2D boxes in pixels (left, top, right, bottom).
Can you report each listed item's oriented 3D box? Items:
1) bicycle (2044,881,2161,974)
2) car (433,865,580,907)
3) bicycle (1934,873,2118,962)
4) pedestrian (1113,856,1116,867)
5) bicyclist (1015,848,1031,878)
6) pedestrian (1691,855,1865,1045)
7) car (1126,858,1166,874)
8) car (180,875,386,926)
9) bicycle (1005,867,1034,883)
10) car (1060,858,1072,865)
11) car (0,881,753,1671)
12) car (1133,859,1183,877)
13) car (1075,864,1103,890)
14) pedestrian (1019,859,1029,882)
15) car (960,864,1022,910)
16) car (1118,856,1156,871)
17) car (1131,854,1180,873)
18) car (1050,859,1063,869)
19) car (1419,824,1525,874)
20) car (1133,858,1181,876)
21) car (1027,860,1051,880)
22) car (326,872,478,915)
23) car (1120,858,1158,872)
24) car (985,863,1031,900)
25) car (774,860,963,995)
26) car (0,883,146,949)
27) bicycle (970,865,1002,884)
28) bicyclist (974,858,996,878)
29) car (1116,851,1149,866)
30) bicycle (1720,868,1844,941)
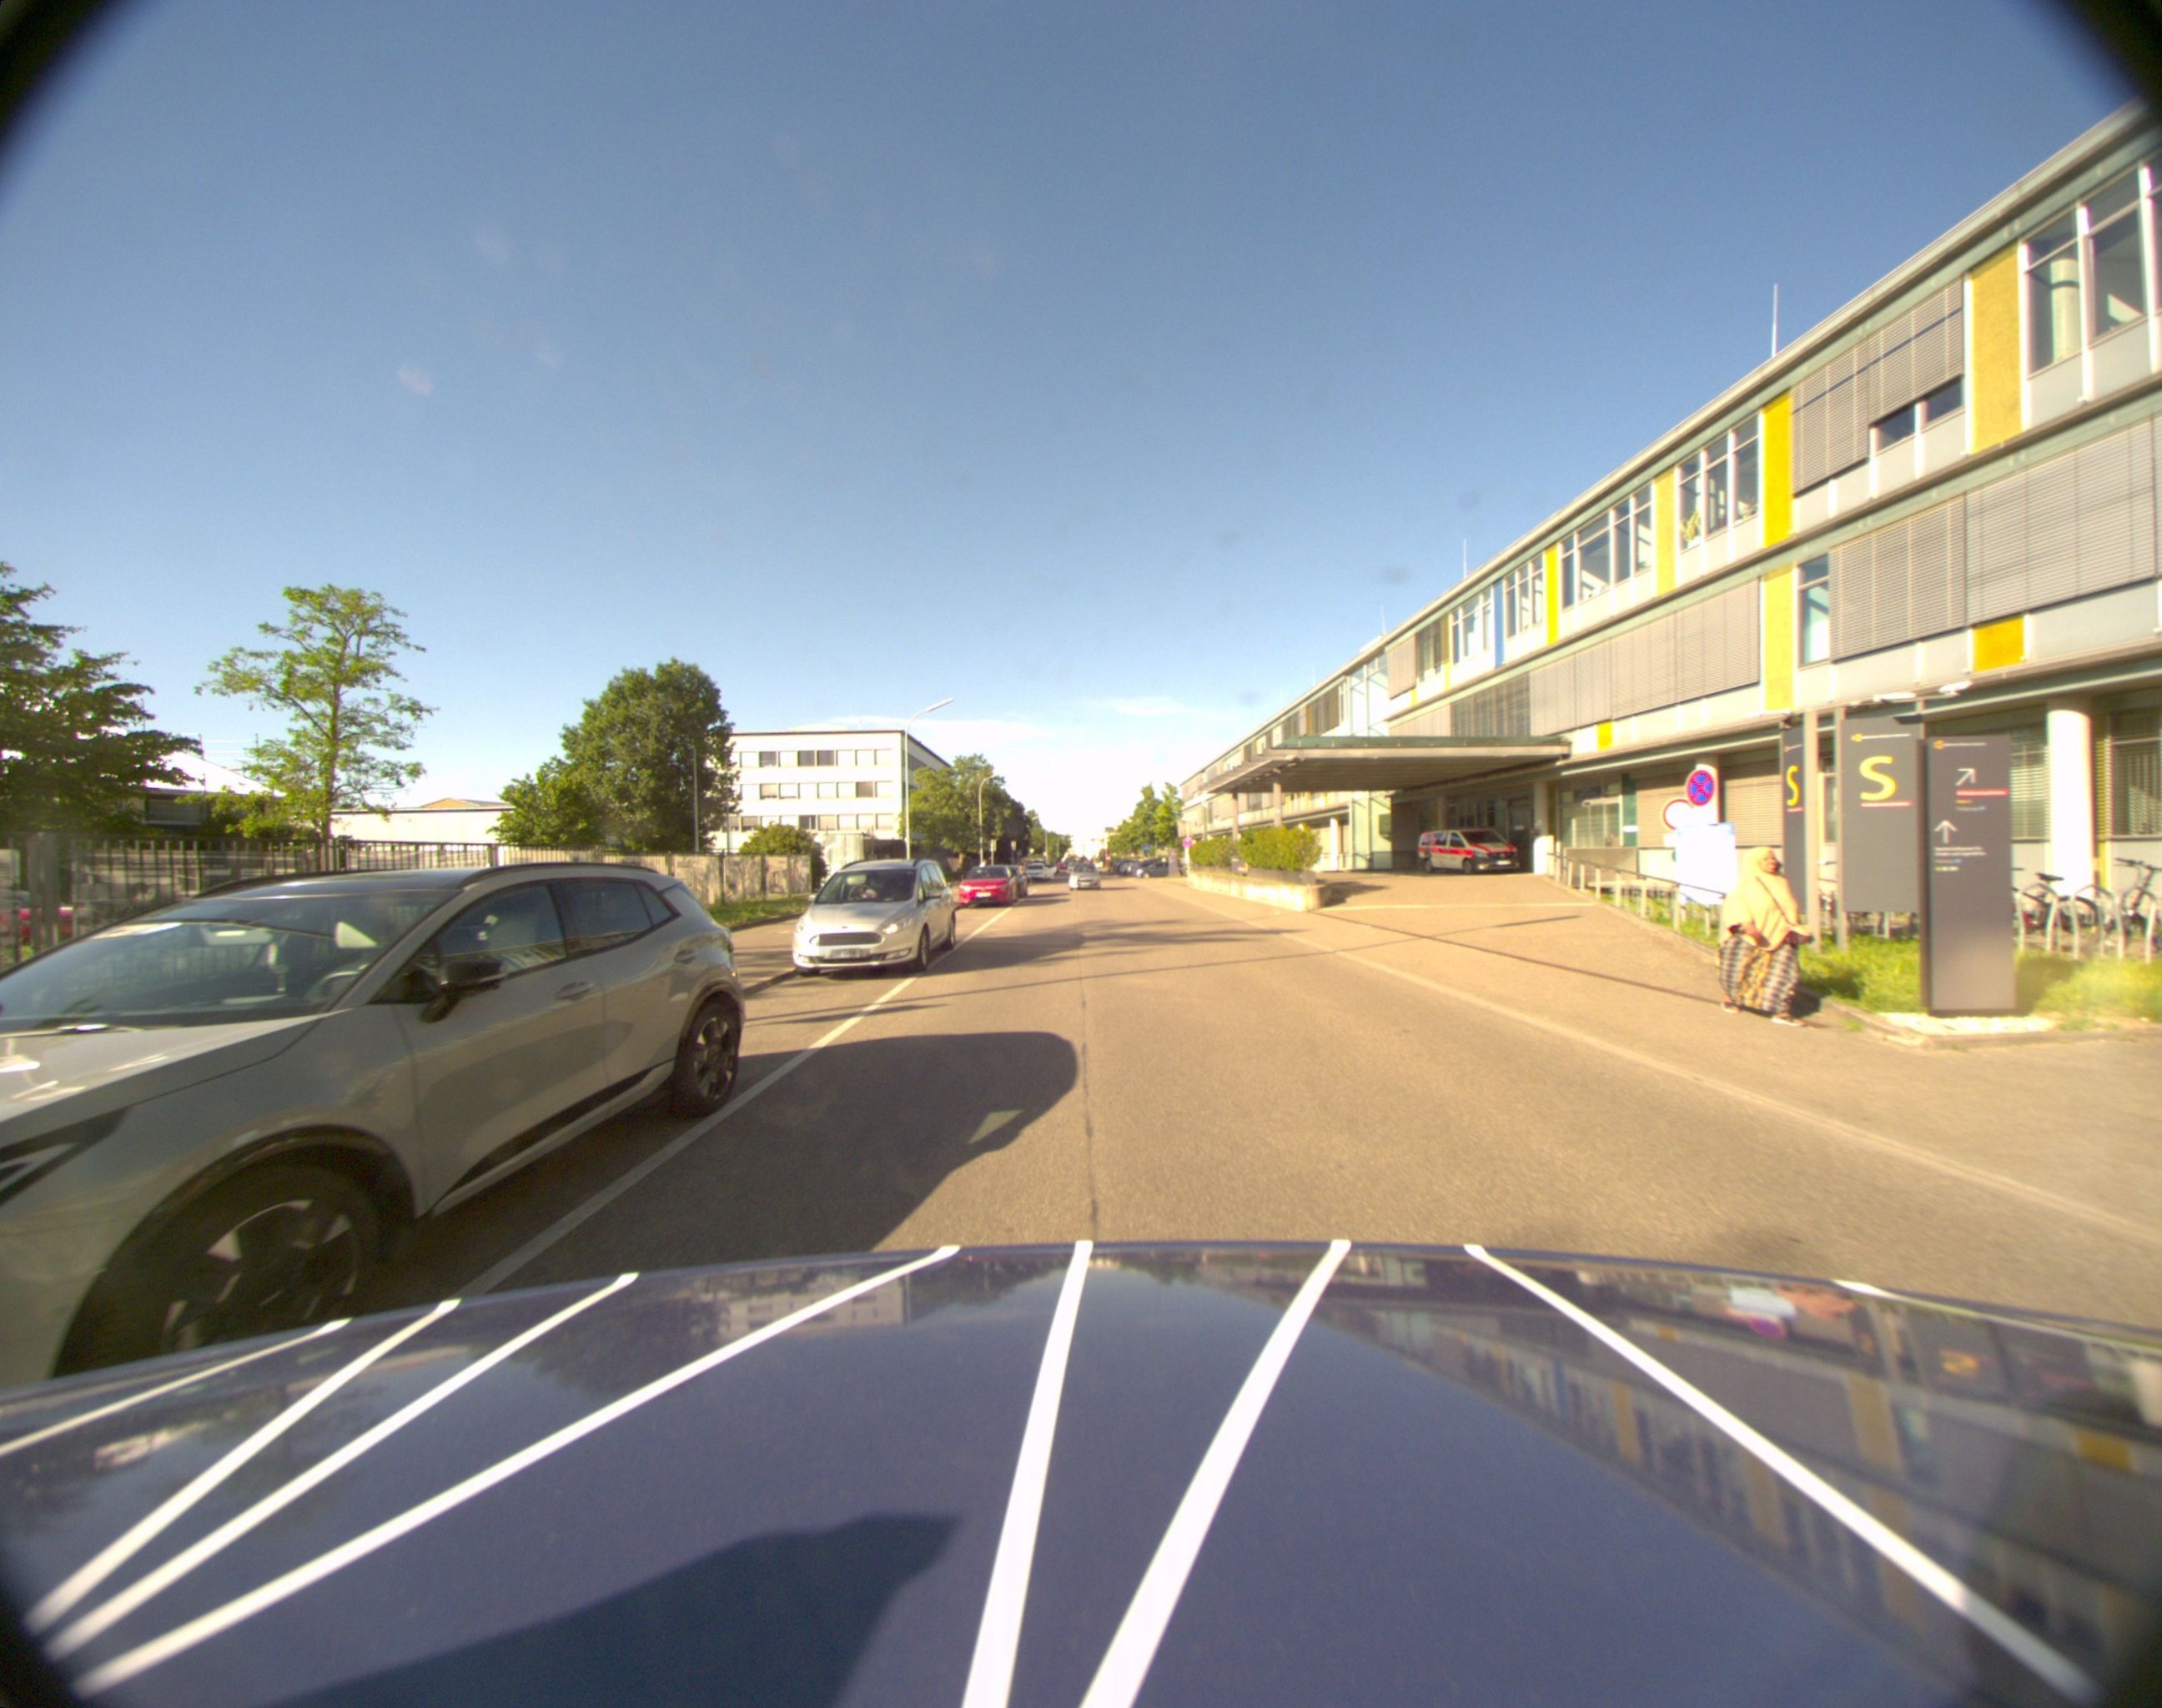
[{"bbox_3d":[11.856,0.796,8.431,1.719,0.968,0.536,-1,0,-2],"label":"bicycle"},{"bbox_3d":[-24.597,1.335,32.665,4.642,1.658,1.999,-1,0,-5],"label":"car"},{"bbox_3d":[11.953,0.788,9.628,1.719,1.049,0.536,-1,0,-2],"label":"bicycle"},{"bbox_3d":[5.216,1.237,119.345,0.369,1.712,0.479,-3,5,-4],"label":"pedestrian"},{"bbox_3d":[-3.952,0.619,51.891,1.052,2.001,0.959,1,-1,-2],"label":"bicyclist"},{"bbox_3d":[6.121,0.799,6.720,0.774,1.540,0.780,-3,1,0],"label":"pedestrian"},{"bbox_3d":[6.943,1.273,81.089,3.992,1.480,1.823,-3,1,-2],"label":"car"},{"bbox_3d":[-24.404,1.391,23.375,4.154,1.245,1.878,-3,0,-3],"label":"car"},{"bbox_3d":[-4.198,1.445,51.854,1.884,1.001,0.702,3,-6,-2],"label":"bicycle"},{"bbox_3d":[-2.929,1.455,147.931,1.999,1.382,3.998,0,0,-5],"label":"car"},{"bbox_3d":[-3.231,1.021,3.230,1.705,1.597,4.353,-3,0,0],"label":"car"},{"bbox_3d":[6.652,1.203,65.938,4.142,1.458,1.753,-2,0,-2],"label":"car"},{"bbox_3d":[0.458,1.263,42.954,1.551,1.389,3.454,0,0,1],"label":"car"},{"bbox_3d":[-4.443,1.272,59.119,0.693,1.718,0.775,0,0,-1],"label":"pedestrian"},{"bbox_3d":[-3.337,1.174,28.886,1.814,1.501,4.721,-3,0,-1],"label":"car"},{"bbox_3d":[6.938,1.144,93.719,4.360,1.618,1.999,-3,1,-4],"label":"car"},{"bbox_3d":[6.923,0.867,71.037,4.232,1.641,1.960,-1,0,-3],"label":"car"},{"bbox_3d":[-3.721,1.550,116.034,1.824,1.435,4.294,-3,0,0],"label":"car"},{"bbox_3d":[15.968,-0.185,31.367,1.924,1.880,4.711,-1,0,-1],"label":"car"},{"bbox_3d":[6.837,1.158,68.567,3.998,1.429,1.731,-2,0,-3],"label":"car"},{"bbox_3d":[-3.400,1.277,62.190,1.668,1.505,4.114,-3,0,0],"label":"car"},{"bbox_3d":[-24.490,1.406,27.513,3.899,1.371,1.675,-1,0,-3],"label":"car"},{"bbox_3d":[6.704,1.241,88.137,4.102,1.414,1.823,-3,1,-2],"label":"car"},{"bbox_3d":[-3.265,1.194,34.691,1.705,1.478,4.214,-3,0,-1],"label":"car"},{"bbox_3d":[-3.221,1.014,12.580,1.814,1.712,4.704,-3,0,-1],"label":"car"},{"bbox_3d":[-23.461,1.391,16.369,4.154,1.245,1.828,-3,0,-3],"label":"car"},{"bbox_3d":[-6.141,1.317,48.999,1.899,1.136,0.668,0,0,15],"label":"bicycle"},{"bbox_3d":[-6.195,0.877,48.968,1.098,1.261,0.863,-1,0,15],"label":"bicyclist"},{"bbox_3d":[7.024,0.577,103.899,4.359,1.852,2.000,-3,0,1],"label":"car"},{"bbox_3d":[11.410,0.811,12.380,1.721,1.117,0.536,-1,0,-10],"label":"bicycle"}]
